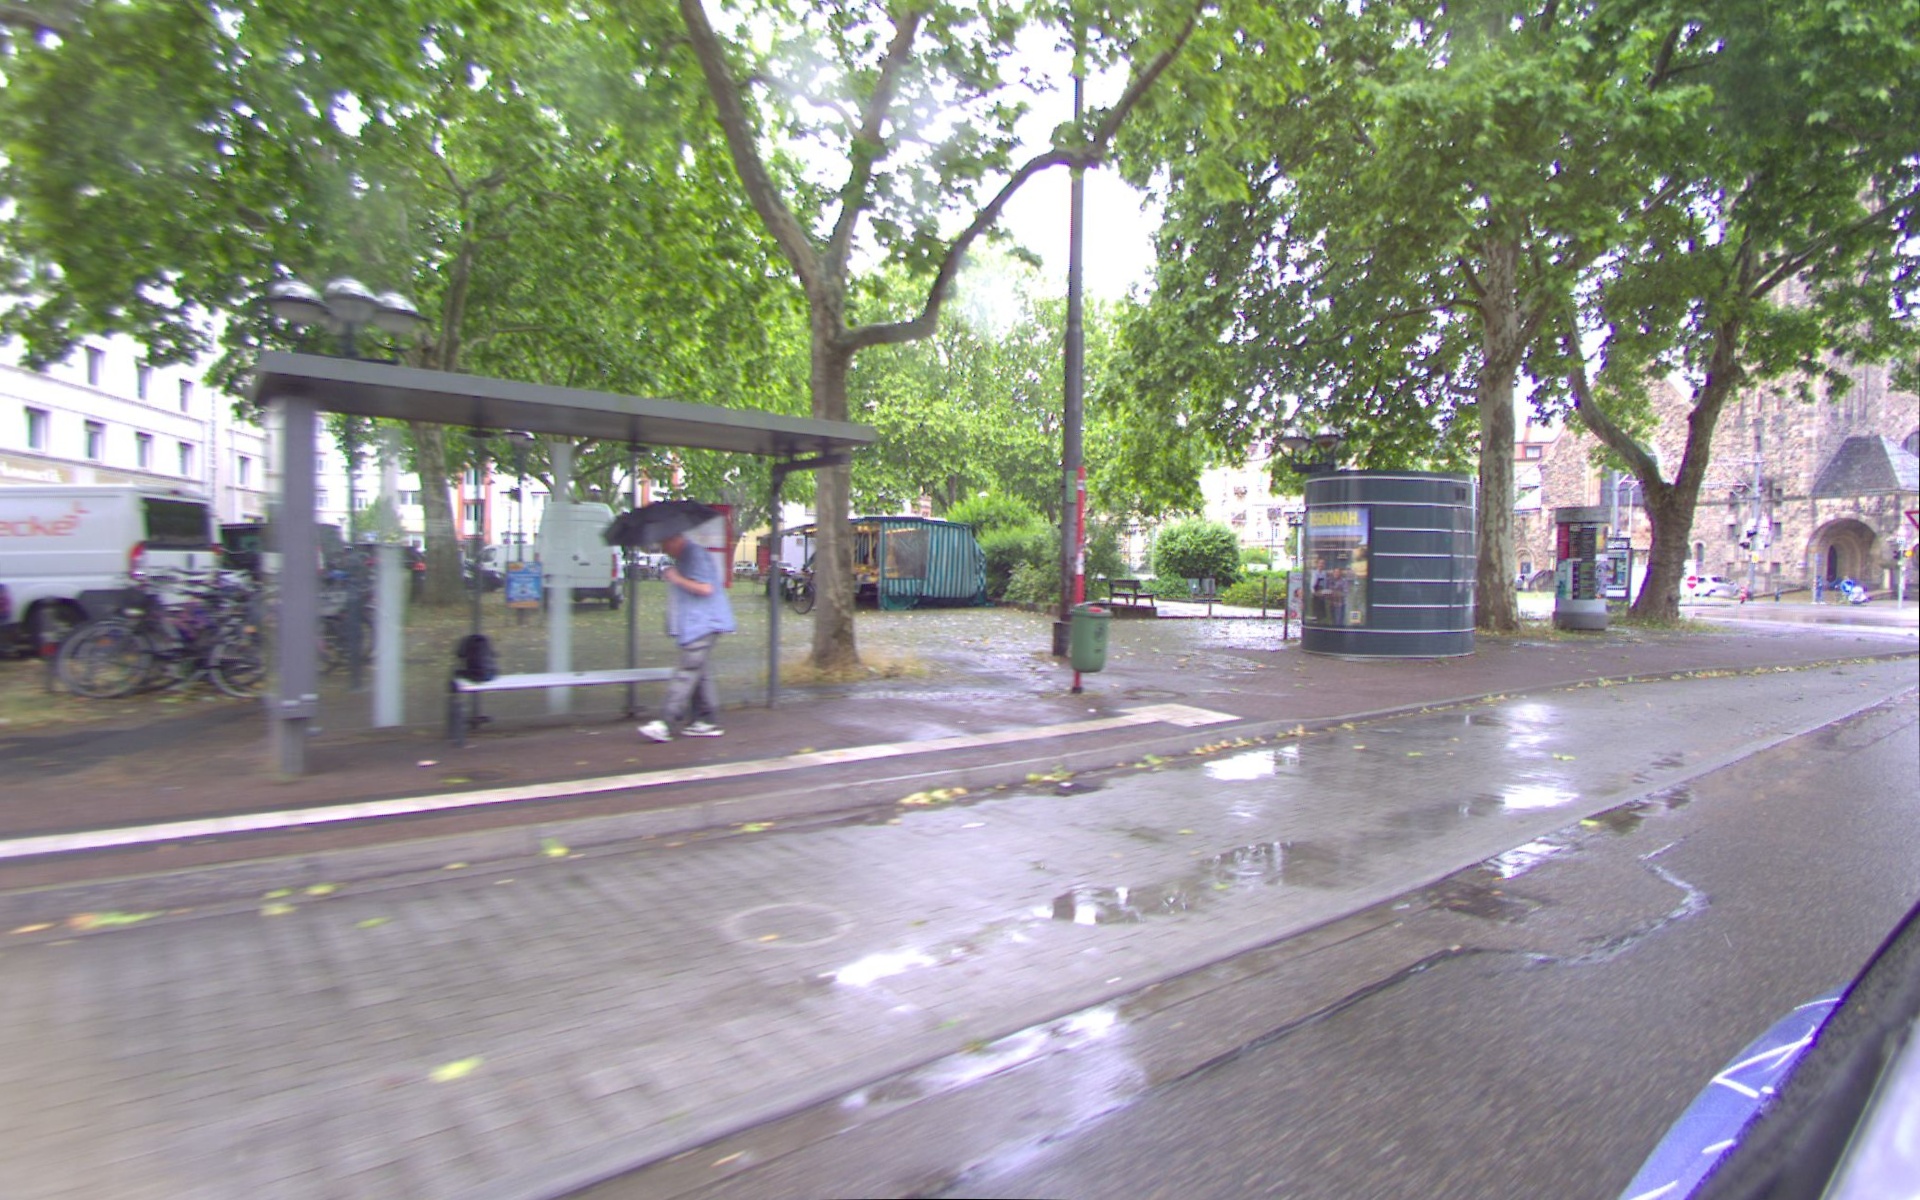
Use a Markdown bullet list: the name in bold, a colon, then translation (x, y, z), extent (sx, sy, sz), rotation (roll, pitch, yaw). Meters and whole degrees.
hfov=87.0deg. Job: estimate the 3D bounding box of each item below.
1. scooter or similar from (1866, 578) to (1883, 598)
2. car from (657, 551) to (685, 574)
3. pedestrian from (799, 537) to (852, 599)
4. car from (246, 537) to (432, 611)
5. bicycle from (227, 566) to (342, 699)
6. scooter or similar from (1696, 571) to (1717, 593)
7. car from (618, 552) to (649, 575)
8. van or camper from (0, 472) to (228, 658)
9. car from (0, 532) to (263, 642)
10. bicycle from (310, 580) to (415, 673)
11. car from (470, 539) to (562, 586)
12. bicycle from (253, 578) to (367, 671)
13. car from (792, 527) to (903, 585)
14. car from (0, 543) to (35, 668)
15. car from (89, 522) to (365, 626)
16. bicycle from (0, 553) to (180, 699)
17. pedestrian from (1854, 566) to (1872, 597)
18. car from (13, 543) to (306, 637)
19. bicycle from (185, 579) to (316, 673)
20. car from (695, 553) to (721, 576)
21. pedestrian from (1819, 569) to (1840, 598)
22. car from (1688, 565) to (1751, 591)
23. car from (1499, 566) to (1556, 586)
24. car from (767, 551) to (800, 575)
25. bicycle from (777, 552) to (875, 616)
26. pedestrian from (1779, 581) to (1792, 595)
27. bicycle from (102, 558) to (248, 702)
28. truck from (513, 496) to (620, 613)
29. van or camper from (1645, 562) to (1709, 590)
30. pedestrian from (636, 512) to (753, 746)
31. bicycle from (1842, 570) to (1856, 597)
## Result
- **scooter or similar**: translation (50.227, -0.677, 55.569), extent (0.907, 1.061, 0.515), rotation (0, 2, -37)
- **car**: translation (-19.324, -2.525, 67.717), extent (1.642, 1.470, 4.010), rotation (0, 3, -13)
- **pedestrian**: translation (-3.175, -0.775, 23.887), extent (1.043, 1.415, 0.735), rotation (3, 3, 43)
- **car**: translation (-16.967, -0.751, 27.866), extent (3.917, 1.860, 1.844), rotation (-2, 3, -14)
- **bicycle**: translation (-6.825, 0.276, 10.306), extent (0.488, 1.210, 1.771), rotation (0, 2, -18)
- **scooter or similar**: translation (47.722, -1.171, 64.671), extent (0.280, 1.404, 1.106), rotation (1, 2, -16)
- **car**: translation (-21.744, -2.484, 67.510), extent (1.642, 1.470, 4.010), rotation (0, 3, -13)
- **van or camper**: translation (-13.146, -0.472, 13.182), extent (5.317, 2.258, 2.409), rotation (0, 2, -11)
- **car**: translation (-13.337, -0.237, 15.814), extent (3.657, 1.594, 1.689), rotation (-1, 2, -18)
- **bicycle**: translation (-7.331, 0.277, 12.520), extent (0.534, 0.995, 2.294), rotation (0, 2, -16)
- **car**: translation (-22.614, -1.948, 51.701), extent (4.013, 2.230, 1.558), rotation (-2, 3, -14)
- **bicycle**: translation (-7.887, 0.246, 12.382), extent (0.523, 0.980, 2.265), rotation (0, 2, -16)
- **car**: translation (-4.196, -1.608, 37.587), extent (3.788, 2.038, 1.960), rotation (0, 2, -18)
- **car**: translation (-11.889, 0.137, 10.320), extent (3.194, 1.352, 1.592), rotation (-2, 3, -15)
- **car**: translation (-14.527, -0.569, 20.350), extent (3.917, 1.860, 2.167), rotation (-2, 3, -14)
- **bicycle**: translation (-8.356, 0.190, 9.775), extent (0.695, 1.273, 1.845), rotation (0, 2, -18)
- **pedestrian**: translation (50.191, -1.013, 56.255), extent (0.676, 1.684, 0.605), rotation (0, 2, -36)
- **car**: translation (-14.028, -0.220, 17.967), extent (3.658, 1.449, 1.689), rotation (-2, 3, -12)
- **bicycle**: translation (-8.491, 0.263, 12.223), extent (0.573, 0.980, 2.259), rotation (0, 2, -16)
- **car**: translation (-16.951, -2.422, 68.189), extent (1.642, 1.470, 4.010), rotation (0, 3, -13)
- **pedestrian**: translation (51.212, -0.975, 59.606), extent (0.622, 1.724, 0.678), rotation (1, 2, -1)
- **car**: translation (52.055, -1.537, 69.362), extent (3.289, 1.593, 1.740), rotation (-3, 3, -12)
- **car**: translation (47.830, -2.043, 85.328), extent (3.916, 1.638, 2.005), rotation (0, 2, -15)
- **car**: translation (-12.184, -2.548, 69.710), extent (1.790, 1.571, 3.905), rotation (0, 3, -17)
- **bicycle**: translation (-3.197, -0.403, 23.907), extent (2.698, 1.394, 0.740), rotation (4, 3, 43)
- **pedestrian**: translation (51.203, -0.751, 62.751), extent (0.388, 0.895, 0.457), rotation (0, 2, -19)
- **bicycle**: translation (-7.678, 0.232, 9.989), extent (0.514, 1.273, 1.845), rotation (0, 2, -18)
- **truck**: translation (-10.342, -1.221, 27.050), extent (2.220, 2.732, 6.416), rotation (0, 3, -17)
- **van or camper**: translation (51.369, -1.739, 72.546), extent (3.848, 1.748, 1.653), rotation (-3, 3, -15)
- **pedestrian**: translation (-2.050, 0.193, 7.805), extent (0.653, 1.689, 0.718), rotation (-1, 2, -37)
- **bicycle**: translation (49.849, -0.921, 56.726), extent (0.531, 1.484, 1.911), rotation (2, 2, 41)
